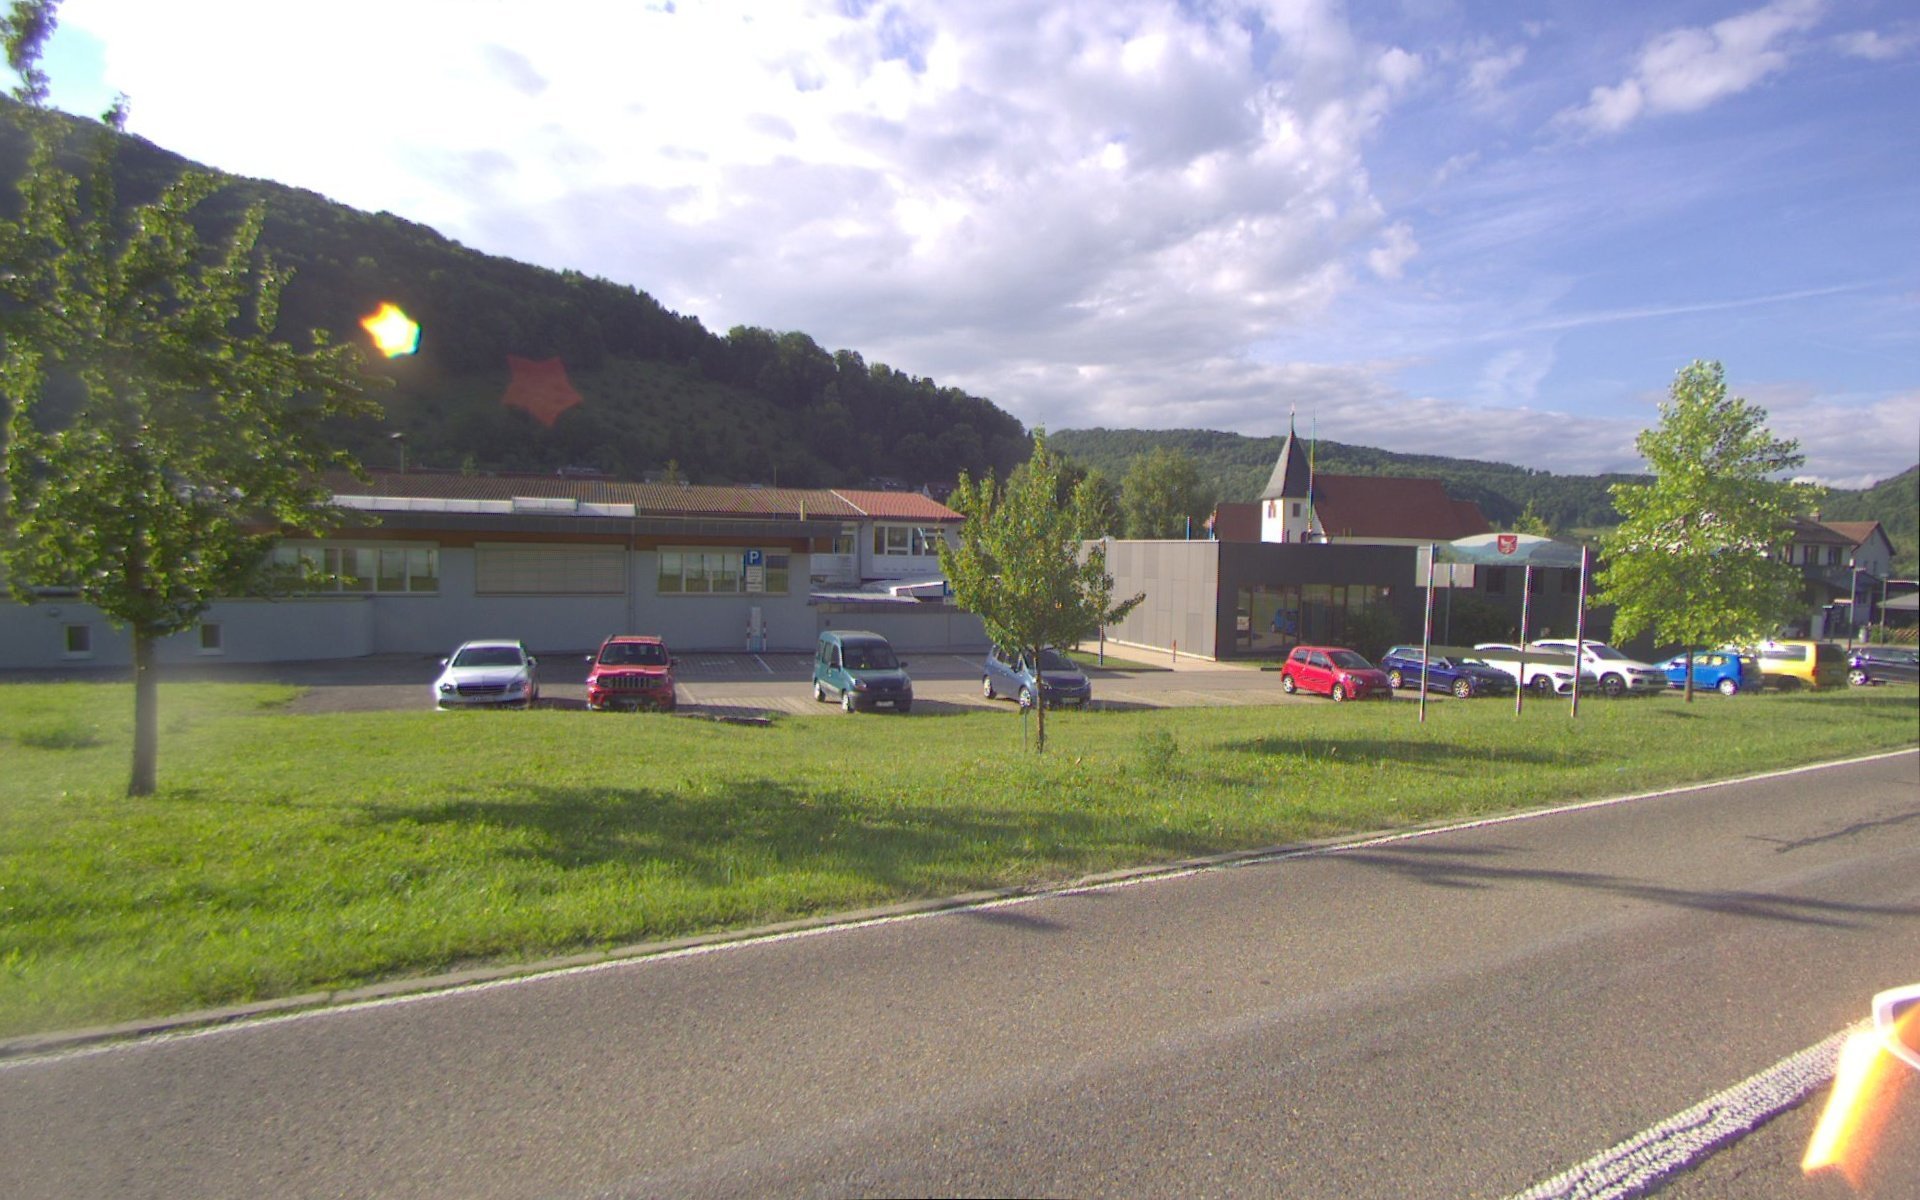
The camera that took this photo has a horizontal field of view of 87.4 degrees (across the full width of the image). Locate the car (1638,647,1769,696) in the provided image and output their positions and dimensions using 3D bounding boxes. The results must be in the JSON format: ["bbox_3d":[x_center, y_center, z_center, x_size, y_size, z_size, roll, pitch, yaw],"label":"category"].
[{"bbox_3d":[27.039,2.569,36.638,1.610,1.492,3.484,2,0,-24],"label":"car"}]

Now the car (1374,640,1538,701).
[{"bbox_3d":[15.681,2.192,32.032,1.971,1.575,4.530,2,0,-22],"label":"car"}]

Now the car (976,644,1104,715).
[{"bbox_3d":[1.991,1.997,26.205,1.661,1.471,3.997,-1,1,-23],"label":"car"}]

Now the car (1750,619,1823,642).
[{"bbox_3d":[57.549,2.116,69.954,3.928,1.461,1.767,2,0,-10],"label":"car"}]

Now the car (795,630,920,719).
[{"bbox_3d":[-2.693,1.781,25.226,1.661,1.817,4.979,2,0,-23],"label":"car"}]

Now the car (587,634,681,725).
[{"bbox_3d":[-7.401,1.729,22.930,1.818,1.691,4.319,2,0,-17],"label":"car"}]

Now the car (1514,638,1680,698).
[{"bbox_3d":[21.804,2.302,34.622,1.971,1.725,4.530,2,0,-22],"label":"car"}]

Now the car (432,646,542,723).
[{"bbox_3d":[-10.232,1.773,21.986,1.825,1.386,3.880,2,-1,-21],"label":"car"}]

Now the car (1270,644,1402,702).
[{"bbox_3d":[11.114,2.126,29.959,1.592,1.416,3.714,2,0,-22],"label":"car"}]

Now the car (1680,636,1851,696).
[{"bbox_3d":[29.658,2.396,37.185,1.969,1.893,4.607,2,0,-18],"label":"car"}]

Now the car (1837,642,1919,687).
[{"bbox_3d":[38.769,2.661,41.021,1.971,1.659,4.017,2,0,-22],"label":"car"}]

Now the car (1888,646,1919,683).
[{"bbox_3d":[42.958,2.870,42.734,1.853,1.513,4.804,2,0,-22],"label":"car"}]

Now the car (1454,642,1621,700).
[{"bbox_3d":[18.831,2.275,33.001,1.971,1.575,4.530,2,0,-22],"label":"car"}]
